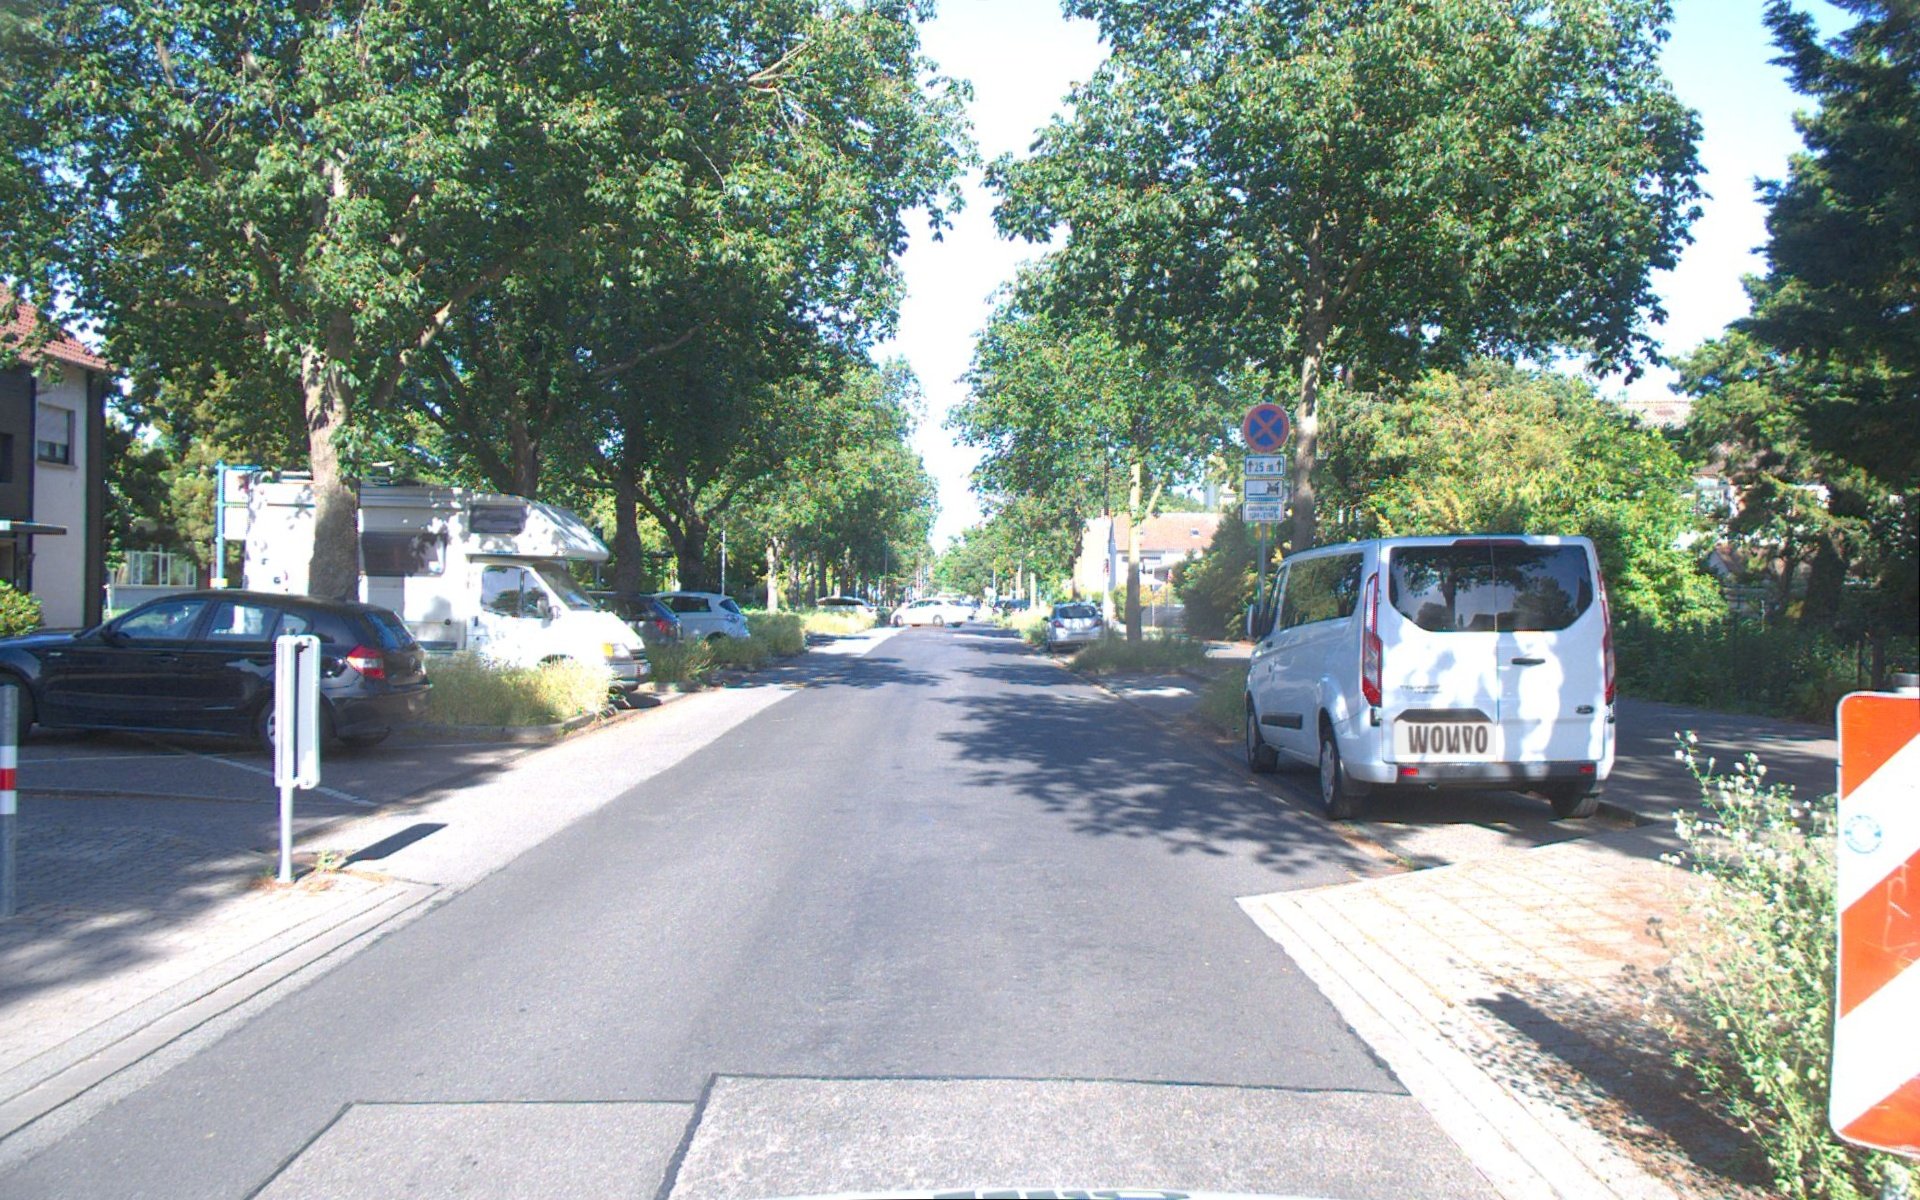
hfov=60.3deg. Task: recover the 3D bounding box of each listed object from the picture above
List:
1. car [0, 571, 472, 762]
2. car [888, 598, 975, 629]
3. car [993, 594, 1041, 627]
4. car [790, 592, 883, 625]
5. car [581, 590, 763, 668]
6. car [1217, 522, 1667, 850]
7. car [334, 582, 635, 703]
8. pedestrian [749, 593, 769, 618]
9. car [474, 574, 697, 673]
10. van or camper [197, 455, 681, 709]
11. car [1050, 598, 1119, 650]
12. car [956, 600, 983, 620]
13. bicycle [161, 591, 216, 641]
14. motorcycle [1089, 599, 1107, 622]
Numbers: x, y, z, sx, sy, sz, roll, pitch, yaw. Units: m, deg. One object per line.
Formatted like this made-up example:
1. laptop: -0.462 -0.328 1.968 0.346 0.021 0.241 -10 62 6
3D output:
1. car: -6.782 0.580 15.362 3.904 1.475 1.640 3 -1 3
2. car: -1.490 0.703 86.447 4.138 1.480 1.993 1 0 35
3. car: 3.112 0.579 91.291 1.955 1.650 4.376 4 -1 -6
4. car: -6.343 0.440 85.186 4.575 1.530 2.000 1 0 1
5. car: -6.720 0.656 38.915 3.906 1.690 1.966 1 0 -2
6. car: 3.616 0.591 13.598 1.954 2.048 5.194 4 -1 -2
7. car: -7.105 0.631 25.052 3.907 1.483 1.999 4 -1 -2
8. pedestrian: -15.673 0.445 128.828 1.205 1.859 1.544 3 -1 -17
9. car: -7.374 0.463 32.888 3.907 1.616 1.999 4 -1 -2
10. van or camper: -6.846 -0.230 22.186 5.657 2.853 2.000 4 -1 1
11. car: 3.870 0.747 50.979 1.951 1.537 4.002 0 -1 7
12. car: 0.801 0.855 141.264 1.954 1.534 3.656 4 -1 -3
13. bicycle: -20.283 0.397 43.561 0.692 1.197 4.038 1 1 -16
14. motorcycle: 7.808 0.571 93.604 0.801 1.248 2.351 -1 0 -1
